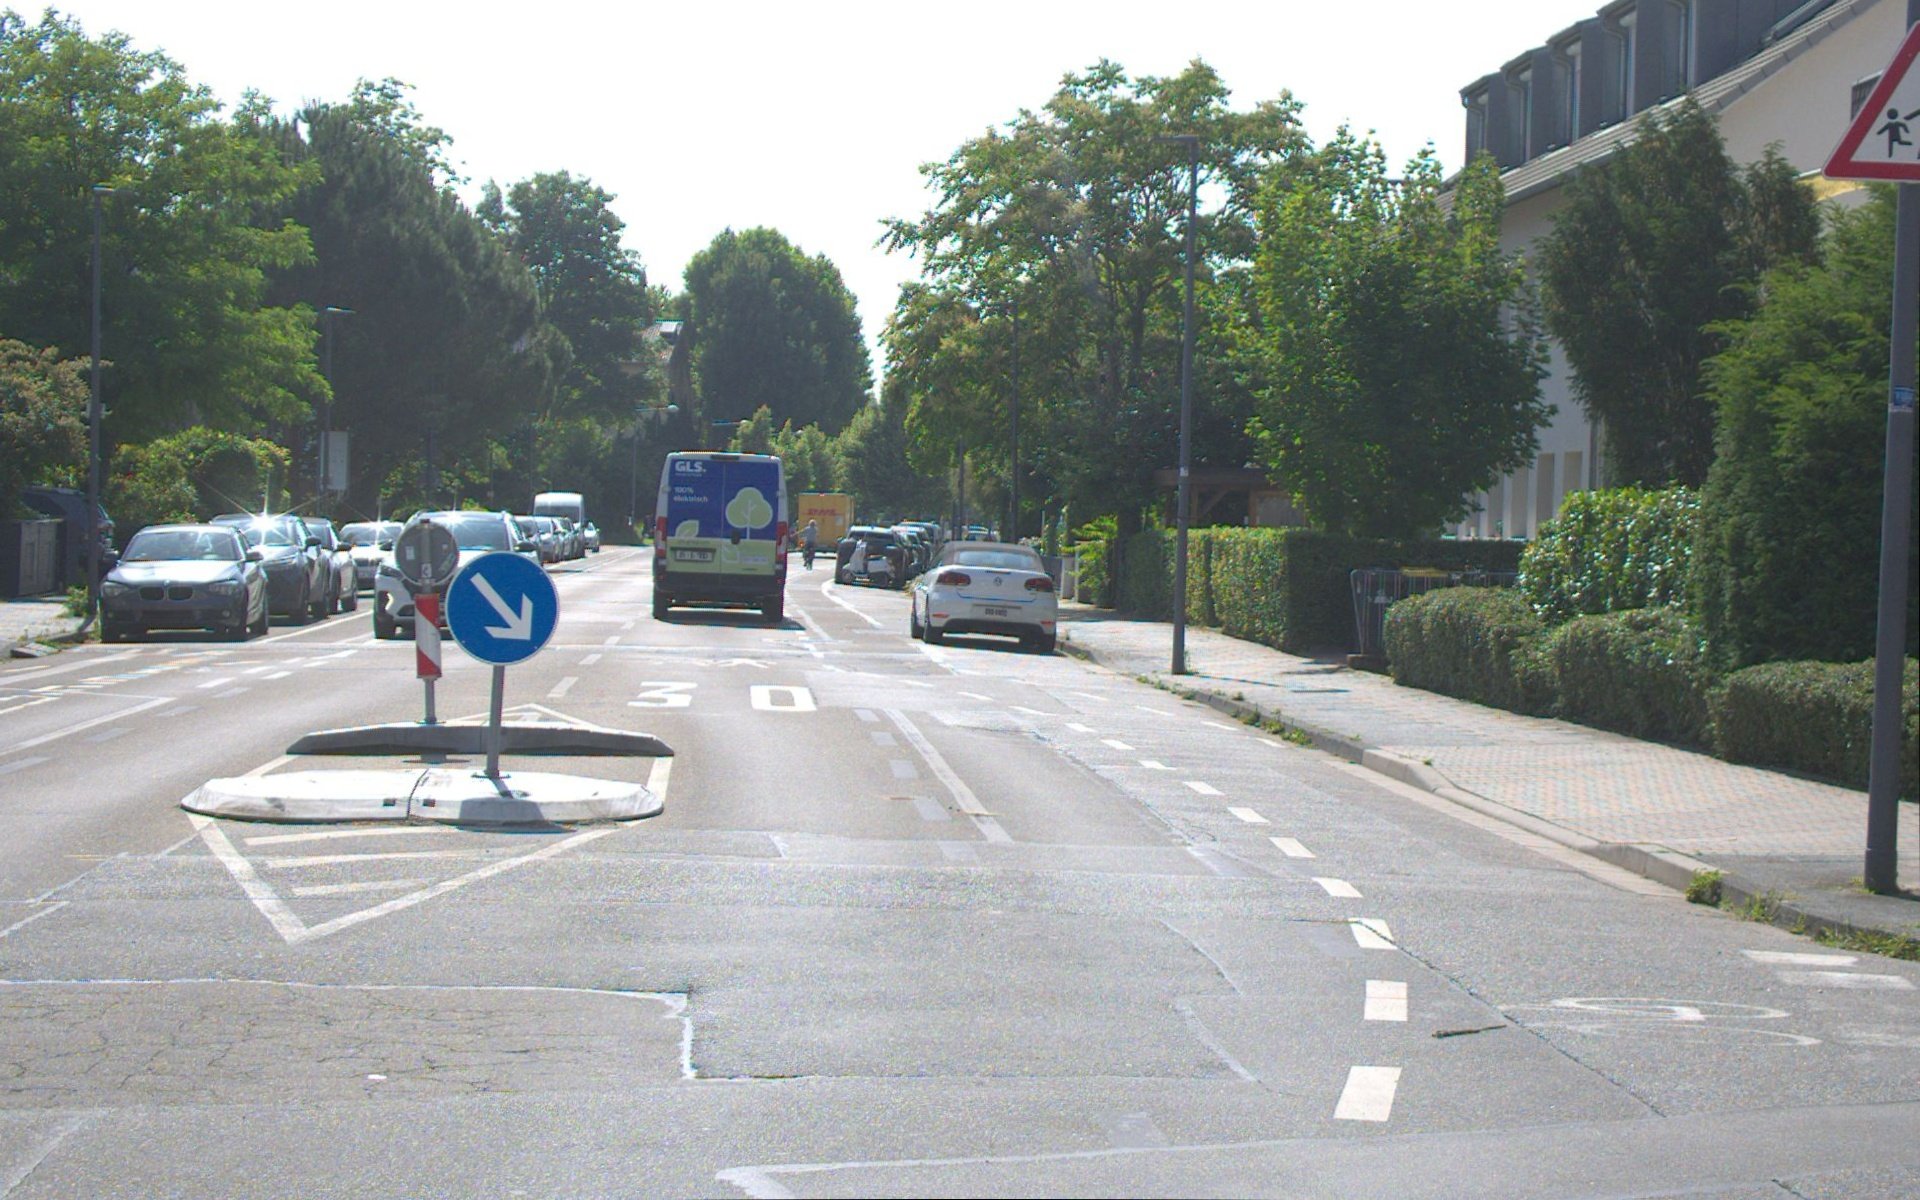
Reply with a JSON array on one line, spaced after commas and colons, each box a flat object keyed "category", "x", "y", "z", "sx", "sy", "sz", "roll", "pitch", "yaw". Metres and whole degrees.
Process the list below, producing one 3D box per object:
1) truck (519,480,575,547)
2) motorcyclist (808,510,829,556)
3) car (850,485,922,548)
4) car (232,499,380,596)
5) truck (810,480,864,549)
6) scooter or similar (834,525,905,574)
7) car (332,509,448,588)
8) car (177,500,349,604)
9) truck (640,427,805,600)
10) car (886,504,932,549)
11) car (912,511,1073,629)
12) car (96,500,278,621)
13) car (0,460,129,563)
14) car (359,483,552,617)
[{"category": "truck", "x": -16.334, "y": -3.425, "z": 136.074, "sx": 2.080, "sy": 2.528, "sz": 5.468, "roll": 2, "pitch": 2, "yaw": -6}, {"category": "motorcyclist", "x": -4.819, "y": -2.281, "z": 116.948, "sx": 0.672, "sy": 1.513, "sz": 0.652, "roll": 2, "pitch": 1, "yaw": -3}, {"category": "car", "x": -2.064, "y": -2.315, "z": 94.919, "sx": 1.784, "sy": 1.632, "sz": 4.471, "roll": 2, "pitch": 2, "yaw": -3}, {"category": "car", "x": -10.476, "y": -0.873, "z": 55.332, "sx": 1.785, "sy": 1.435, "sz": 4.001, "roll": 2, "pitch": 1, "yaw": -3}, {"category": "truck", "x": -5.515, "y": -3.792, "z": 153.470, "sx": 2.214, "sy": 2.936, "sz": 5.687, "roll": 2, "pitch": 1, "yaw": -3}, {"category": "scooter or similar", "x": -2.441, "y": -1.351, "z": 92.179, "sx": 1.796, "sy": 1.150, "sz": 0.718, "roll": 6, "pitch": 1, "yaw": 41}, {"category": "car", "x": -10.943, "y": -1.012, "z": 66.182, "sx": 1.785, "sy": 1.435, "sz": 4.001, "roll": 1, "pitch": 2, "yaw": -4}, {"category": "car", "x": -10.025, "y": -0.724, "z": 49.712, "sx": 1.785, "sy": 1.435, "sz": 4.111, "roll": 0, "pitch": 2, "yaw": -2}, {"category": "truck", "x": -3.796, "y": -1.353, "z": 54.322, "sx": 2.272, "sy": 2.562, "sz": 4.393, "roll": 2, "pitch": 1, "yaw": -7}, {"category": "car", "x": -1.915, "y": -2.767, "z": 129.079, "sx": 1.700, "sy": 1.671, "sz": 3.775, "roll": 0, "pitch": 1, "yaw": -1}, {"category": "car", "x": 0.392, "y": -0.440, "z": 46.991, "sx": 1.740, "sy": 1.397, "sz": 4.075, "roll": 4, "pitch": 1, "yaw": -5}, {"category": "car", "x": -9.588, "y": -0.525, "z": 42.890, "sx": 1.785, "sy": 1.435, "sz": 4.156, "roll": 0, "pitch": 2, "yaw": -7}, {"category": "car", "x": -17.088, "y": -1.632, "z": 61.494, "sx": 3.986, "sy": 1.753, "sz": 2.000, "roll": 2, "pitch": 2, "yaw": -3}, {"category": "car", "x": -6.570, "y": -0.672, "z": 45.197, "sx": 1.915, "sy": 1.661, "sz": 4.506, "roll": 0, "pitch": 1, "yaw": -1}]
